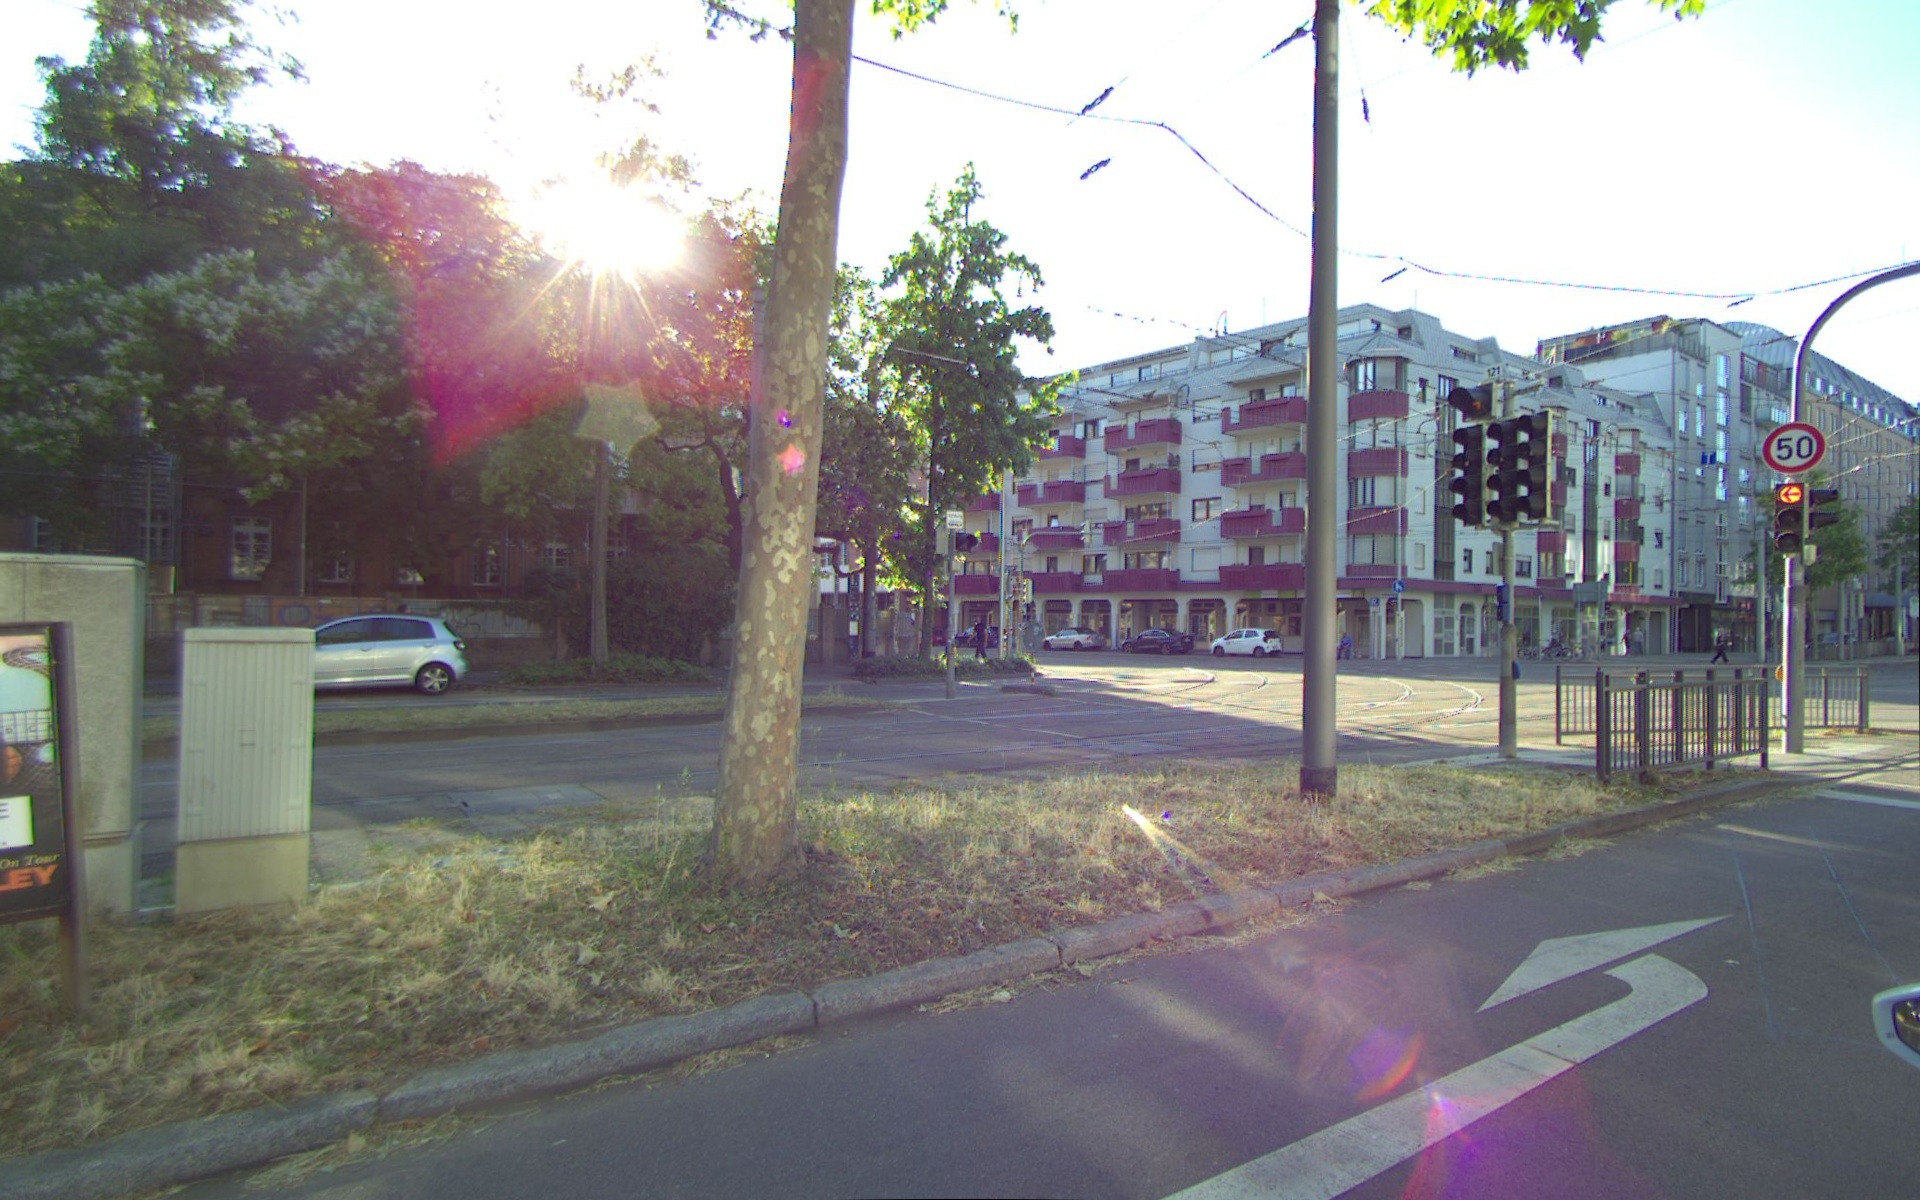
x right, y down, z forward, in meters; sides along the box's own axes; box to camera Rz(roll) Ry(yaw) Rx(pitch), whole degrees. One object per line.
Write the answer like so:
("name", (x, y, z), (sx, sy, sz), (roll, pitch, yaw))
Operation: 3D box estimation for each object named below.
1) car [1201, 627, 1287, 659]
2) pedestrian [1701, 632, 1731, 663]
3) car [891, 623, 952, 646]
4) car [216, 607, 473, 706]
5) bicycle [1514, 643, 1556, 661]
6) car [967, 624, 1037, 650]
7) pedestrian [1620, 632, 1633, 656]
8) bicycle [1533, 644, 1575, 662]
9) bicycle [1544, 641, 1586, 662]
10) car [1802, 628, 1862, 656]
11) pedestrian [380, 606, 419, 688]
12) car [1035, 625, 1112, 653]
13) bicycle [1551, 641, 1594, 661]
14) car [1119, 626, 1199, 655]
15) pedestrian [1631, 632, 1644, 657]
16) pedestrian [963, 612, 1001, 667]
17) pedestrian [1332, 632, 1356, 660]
("car", (14.895, 2.239, 52.766), (1.986, 1.576, 3.950), (2, -2, -42))
("pedestrian", (38.619, 2.430, 51.325), (0.684, 1.564, 1.044), (1, -1, -21))
("car", (-2.805, 2.439, 72.208), (1.986, 1.576, 4.527), (2, -2, -42))
("car", (-11.967, 1.036, 19.616), (4.062, 1.641, 2.065), (2, 1, -38))
("bicycle", (29.497, 2.682, 51.530), (0.547, 0.865, 1.833), (1, -1, -32))
("car", (2.726, 2.408, 66.236), (1.986, 1.576, 4.527), (2, -2, -42))
("pedestrian", (42.304, 2.788, 63.794), (0.582, 1.514, 0.530), (1, -1, -38))
("bicycle", (30.414, 2.707, 51.450), (0.547, 0.865, 1.833), (1, -1, -32))
("bicycle", (31.427, 2.669, 52.205), (0.548, 0.998, 1.830), (1, -1, -36))
("car", (54.683, 2.603, 62.987), (4.219, 1.695, 1.942), (1, -1, -36))
("pedestrian", (-11.891, 0.976, 21.302), (0.626, 1.687, 0.563), (1, 1, -37))
("car", (6.893, 2.345, 61.197), (1.986, 1.576, 4.527), (2, -2, -42))
("bicycle", (31.984, 2.637, 52.456), (0.548, 0.998, 1.830), (1, -1, -36))
("car", (11.166, 2.263, 56.611), (1.986, 1.576, 4.072), (2, -2, -42))
("pedestrian", (42.734, 2.799, 63.385), (0.582, 1.514, 0.530), (1, -1, -38))
("pedestrian", (0.725, 1.290, 33.188), (1.010, 1.775, 0.728), (1, -1, -38))
("pedestrian", (19.075, 2.275, 49.941), (0.848, 1.402, 0.831), (0, -1, 45))
